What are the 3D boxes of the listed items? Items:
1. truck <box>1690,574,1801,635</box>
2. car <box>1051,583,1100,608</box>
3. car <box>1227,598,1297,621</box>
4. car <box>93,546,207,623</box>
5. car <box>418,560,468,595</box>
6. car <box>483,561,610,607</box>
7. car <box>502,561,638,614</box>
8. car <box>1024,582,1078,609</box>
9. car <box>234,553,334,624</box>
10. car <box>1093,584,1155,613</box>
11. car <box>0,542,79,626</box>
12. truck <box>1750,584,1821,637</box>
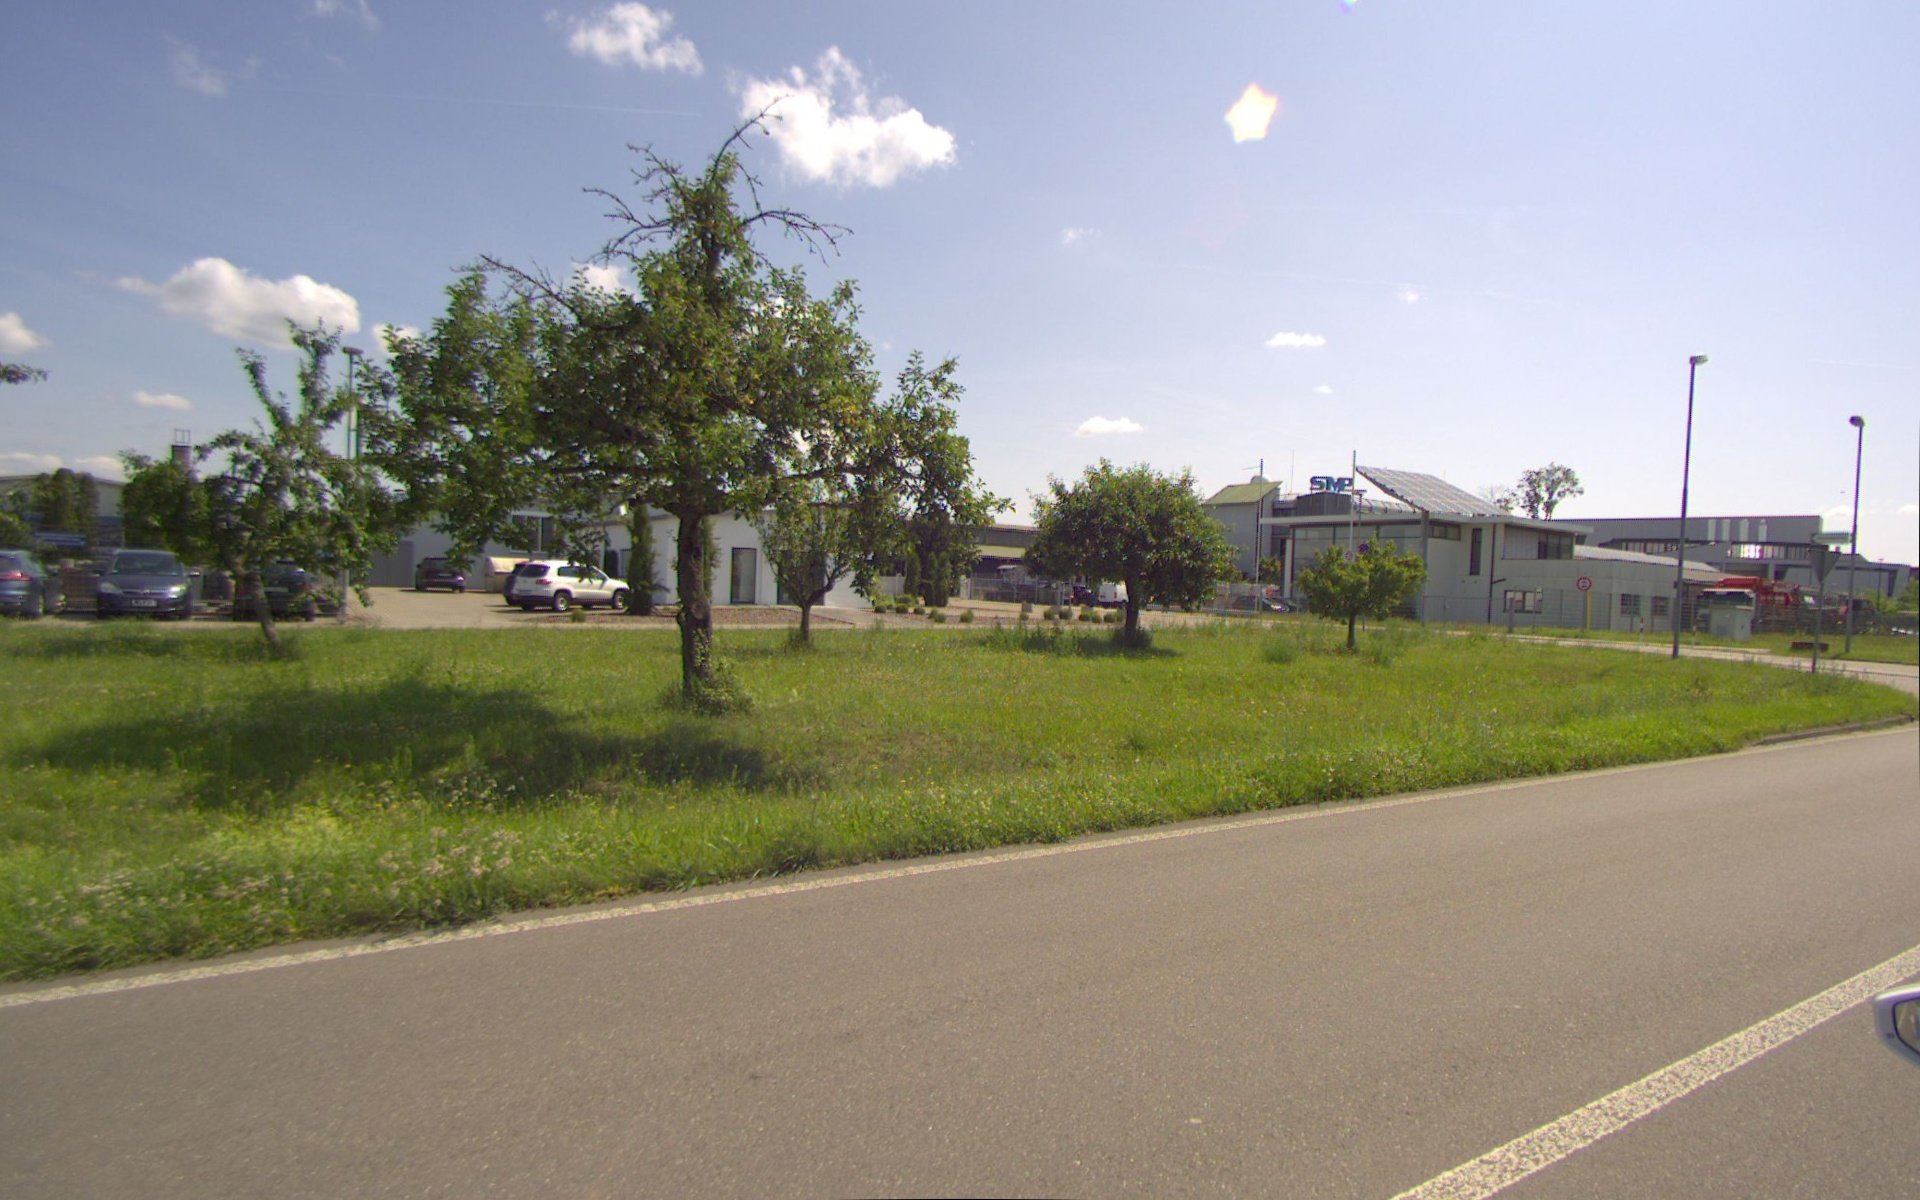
[{"bbox_3d":[50.716,0.329,64.698,10.166,3.606,2.734,1,2,-36],"label":"truck"},{"bbox_3d":[9.141,-0.388,79.754,1.672,1.777,3.810,1,2,-37],"label":"car"},{"bbox_3d":[19.222,0.584,64.070,1.786,1.261,3.960,1,2,-35],"label":"car"},{"bbox_3d":[-19.364,-0.413,24.172,1.840,1.662,3.960,1,2,-35],"label":"car"},{"bbox_3d":[-24.225,-1.068,47.102,1.975,1.504,4.140,2,2,-27],"label":"car"},{"bbox_3d":[-15.408,-0.588,37.628,1.962,1.549,4.166,3,1,25],"label":"car"},{"bbox_3d":[-13.417,-0.420,34.819,1.962,1.662,4.166,3,1,25],"label":"car"},{"bbox_3d":[6.997,-0.363,77.724,1.981,1.873,3.958,1,2,-36],"label":"car"},{"bbox_3d":[-17.500,-0.327,25.999,1.980,1.662,3.960,1,2,-35],"label":"car"},{"bbox_3d":[12.386,-0.084,75.758,4.704,2.041,1.976,1,2,-41],"label":"car"},{"bbox_3d":[-21.102,-0.416,22.196,1.980,1.662,3.960,2,2,-35],"label":"car"},{"bbox_3d":[58.411,0.762,71.064,5.388,3.499,2.418,1,2,-35],"label":"truck"}]
